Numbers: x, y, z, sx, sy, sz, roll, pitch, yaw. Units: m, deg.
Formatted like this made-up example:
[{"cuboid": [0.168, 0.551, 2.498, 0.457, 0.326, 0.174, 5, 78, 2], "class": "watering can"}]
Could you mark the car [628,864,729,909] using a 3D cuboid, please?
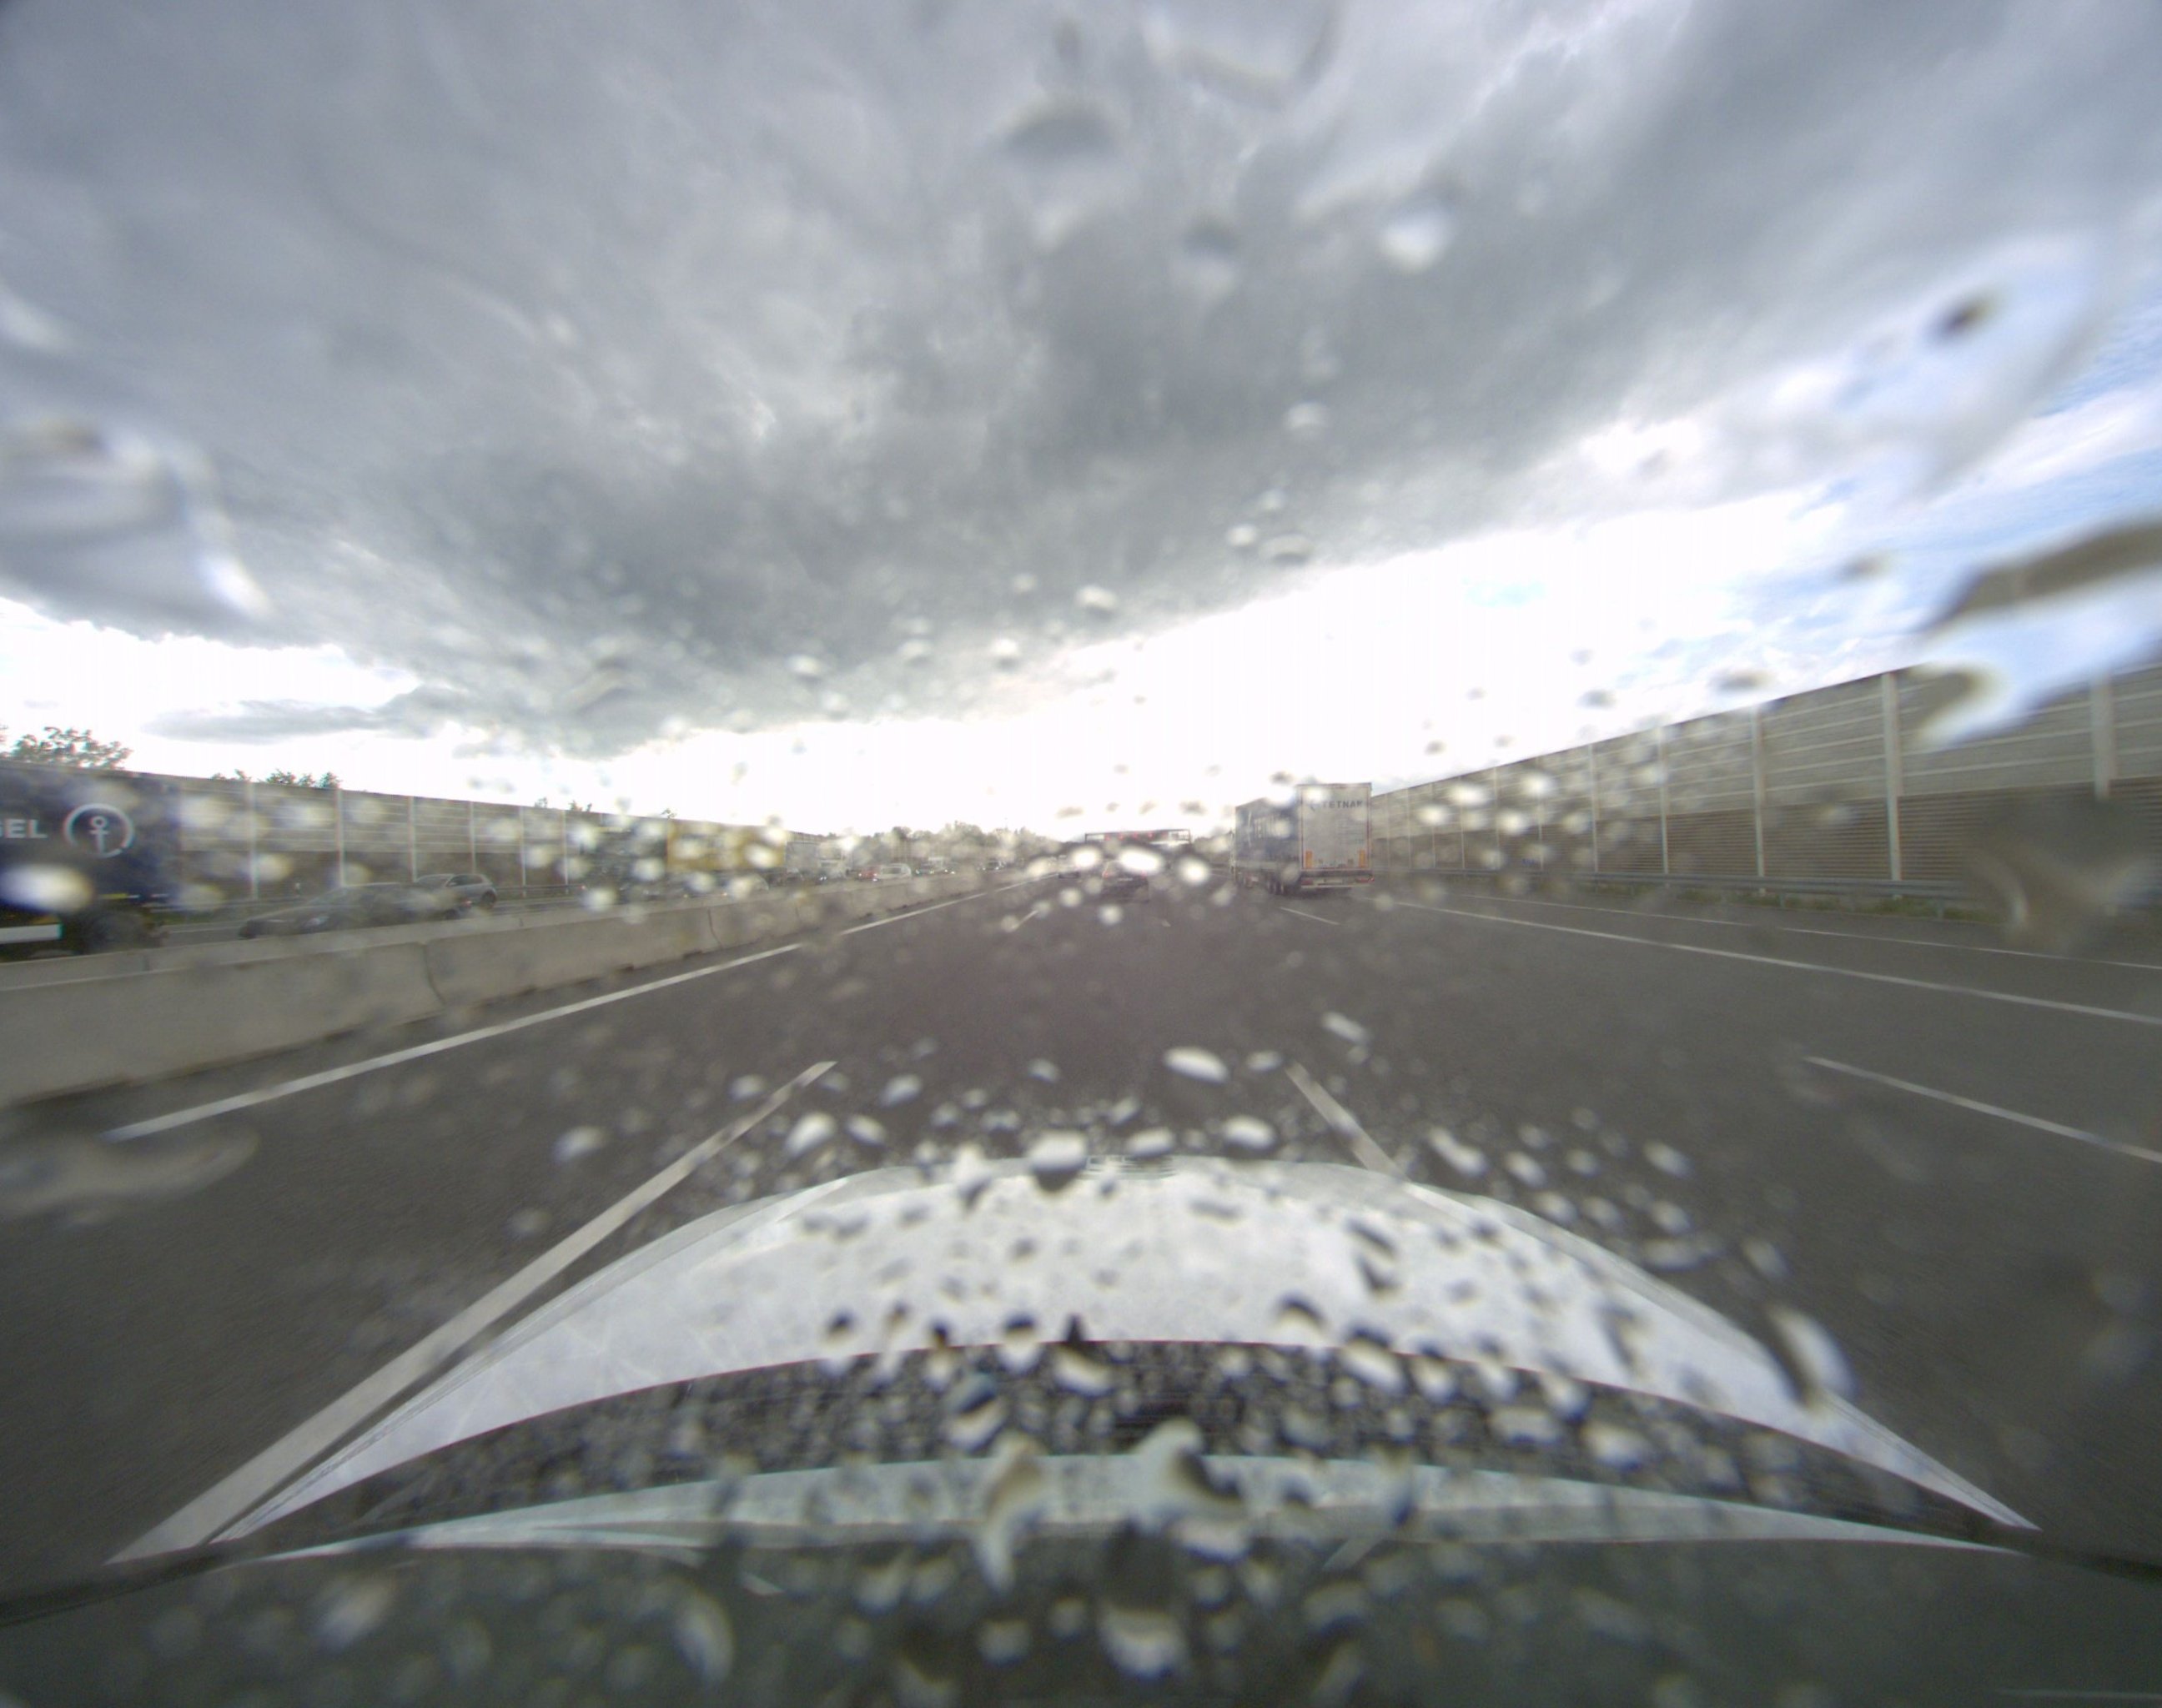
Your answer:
[{"cuboid": [-17.187, 1.348, 35.043, 2.054, 1.699, 4.411, -1, 0, 1], "class": "car"}]

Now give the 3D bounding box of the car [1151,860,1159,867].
[{"cuboid": [17.915, 2.282, 197.802, 1.874, 1.561, 4.438, -2, -1, 5], "class": "car"}]

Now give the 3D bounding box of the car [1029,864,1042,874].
[{"cuboid": [-7.811, 2.573, 140.197, 1.866, 1.699, 4.224, -1, 0, 2], "class": "car"}]

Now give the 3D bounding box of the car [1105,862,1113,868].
[{"cuboid": [7.322, 2.826, 213.422, 1.958, 1.561, 4.438, -2, -1, 5], "class": "car"}]

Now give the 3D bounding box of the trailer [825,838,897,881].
[{"cuboid": [-22.802, 0.548, 85.479, 2.750, 4.032, 14.464, -1, 0, 3], "class": "trailer"}]

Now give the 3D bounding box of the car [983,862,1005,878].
[{"cuboid": [-10.094, 1.818, 94.941, 1.948, 1.699, 4.894, -1, 0, 1], "class": "car"}]

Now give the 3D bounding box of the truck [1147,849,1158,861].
[{"cuboid": [21.853, 0.233, 249.255, 3.137, 3.602, 12.716, 0, 0, 5], "class": "truck"}]

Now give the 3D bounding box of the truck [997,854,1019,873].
[{"cuboid": [-14.186, 1.819, 159.776, 2.684, 3.527, 10.006, 0, 0, 4], "class": "truck"}]

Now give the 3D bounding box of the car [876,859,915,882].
[{"cuboid": [-15.768, 1.380, 69.461, 2.054, 1.816, 4.779, -1, 0, 1], "class": "car"}]

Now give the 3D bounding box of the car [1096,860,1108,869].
[{"cuboid": [4.046, 2.008, 154.260, 1.958, 1.561, 4.438, -2, -1, 5], "class": "car"}]

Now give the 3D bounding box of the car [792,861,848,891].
[{"cuboid": [-16.674, 1.374, 52.238, 2.054, 1.699, 4.411, -1, 0, 1], "class": "car"}]

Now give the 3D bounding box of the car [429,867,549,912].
[{"cuboid": [-25.489, 1.491, 35.280, 2.054, 1.723, 4.212, -1, 0, 1], "class": "car"}]

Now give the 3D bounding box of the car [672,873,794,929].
[{"cuboid": [-13.154, 1.707, 31.285, 2.054, 1.755, 5.808, -1, 0, 1], "class": "car"}]

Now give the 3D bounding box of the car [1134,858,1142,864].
[{"cuboid": [15.703, 1.826, 222.522, 1.958, 1.561, 4.440, -2, -1, 6], "class": "car"}]

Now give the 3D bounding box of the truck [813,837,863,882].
[{"cuboid": [-23.211, 0.525, 78.123, 2.734, 4.035, 5.730, -1, -1, 3], "class": "truck"}]

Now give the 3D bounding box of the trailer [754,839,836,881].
[{"cuboid": [-29.659, 0.622, 85.421, 2.923, 4.032, 13.870, -1, 0, 3], "class": "trailer"}]

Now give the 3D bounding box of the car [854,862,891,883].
[{"cuboid": [-19.107, 1.646, 74.777, 2.054, 1.816, 4.779, -1, 0, 1], "class": "car"}]

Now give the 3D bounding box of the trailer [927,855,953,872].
[{"cuboid": [-20.873, 1.359, 120.867, 2.449, 2.495, 6.090, -1, 0, 3], "class": "trailer"}]

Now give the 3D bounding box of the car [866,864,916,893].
[{"cuboid": [-12.243, 1.526, 52.819, 2.054, 1.699, 4.411, -1, 0, 1], "class": "car"}]

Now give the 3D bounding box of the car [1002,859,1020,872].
[{"cuboid": [-9.427, 1.499, 109.864, 1.948, 1.699, 4.411, -1, 0, 1], "class": "car"}]

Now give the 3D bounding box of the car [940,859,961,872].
[{"cuboid": [-17.410, 1.490, 108.740, 1.948, 1.699, 4.411, -1, 0, 1], "class": "car"}]

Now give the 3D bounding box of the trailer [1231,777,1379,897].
[{"cuboid": [9.010, -0.536, 35.161, 2.751, 4.032, 14.458, -1, 0, 2], "class": "trailer"}]

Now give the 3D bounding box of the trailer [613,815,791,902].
[{"cuboid": [-20.485, 0.257, 45.689, 2.751, 4.032, 14.458, -1, 0, 2], "class": "trailer"}]

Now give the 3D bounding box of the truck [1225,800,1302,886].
[{"cuboid": [9.197, -0.510, 41.664, 2.734, 4.035, 5.728, -1, -1, 2], "class": "truck"}]

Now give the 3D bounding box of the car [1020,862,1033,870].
[{"cuboid": [-10.788, 2.403, 161.201, 2.052, 1.599, 5.001, -2, -1, 3], "class": "car"}]

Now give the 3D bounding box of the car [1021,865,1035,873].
[{"cuboid": [-10.438, 2.894, 161.374, 2.050, 1.491, 5.004, -2, -1, 5], "class": "car"}]

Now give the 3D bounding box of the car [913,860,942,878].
[{"cuboid": [-15.302, 1.491, 81.223, 1.948, 1.699, 4.411, -1, 0, 1], "class": "car"}]

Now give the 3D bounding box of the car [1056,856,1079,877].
[{"cuboid": [-1.095, 1.048, 68.620, 1.710, 1.624, 4.280, -1, 0, 2], "class": "car"}]

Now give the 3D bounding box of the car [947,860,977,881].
[{"cuboid": [-11.412, 1.567, 78.437, 2.054, 1.816, 4.779, -1, 0, 1], "class": "car"}]

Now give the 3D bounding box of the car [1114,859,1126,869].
[{"cuboid": [7.154, 1.857, 149.976, 1.958, 1.561, 4.438, -2, -1, 5], "class": "car"}]

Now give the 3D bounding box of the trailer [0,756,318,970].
[{"cuboid": [-21.291, 0.197, 15.860, 2.919, 3.939, 10.126, -1, 0, 3], "class": "trailer"}]

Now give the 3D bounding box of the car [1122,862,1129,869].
[{"cuboid": [11.982, 3.090, 218.800, 1.959, 1.561, 4.437, -2, -1, 4], "class": "car"}]

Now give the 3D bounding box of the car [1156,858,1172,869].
[{"cuboid": [11.722, 1.331, 115.092, 1.942, 1.418, 4.233, -2, -1, 2], "class": "car"}]

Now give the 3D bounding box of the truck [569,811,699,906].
[{"cuboid": [-20.705, 0.220, 38.121, 2.734, 4.035, 5.728, -1, -1, 2], "class": "truck"}]

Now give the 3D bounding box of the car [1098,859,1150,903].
[{"cuboid": [1.486, 0.905, 29.323, 1.711, 1.417, 4.279, -1, 0, 1], "class": "car"}]

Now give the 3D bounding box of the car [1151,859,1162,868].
[{"cuboid": [13.799, 1.803, 148.374, 1.874, 1.542, 4.438, -2, -1, 4], "class": "car"}]

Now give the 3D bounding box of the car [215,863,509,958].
[{"cuboid": [-17.386, 1.240, 20.281, 2.054, 1.892, 5.808, -1, 0, 1], "class": "car"}]
